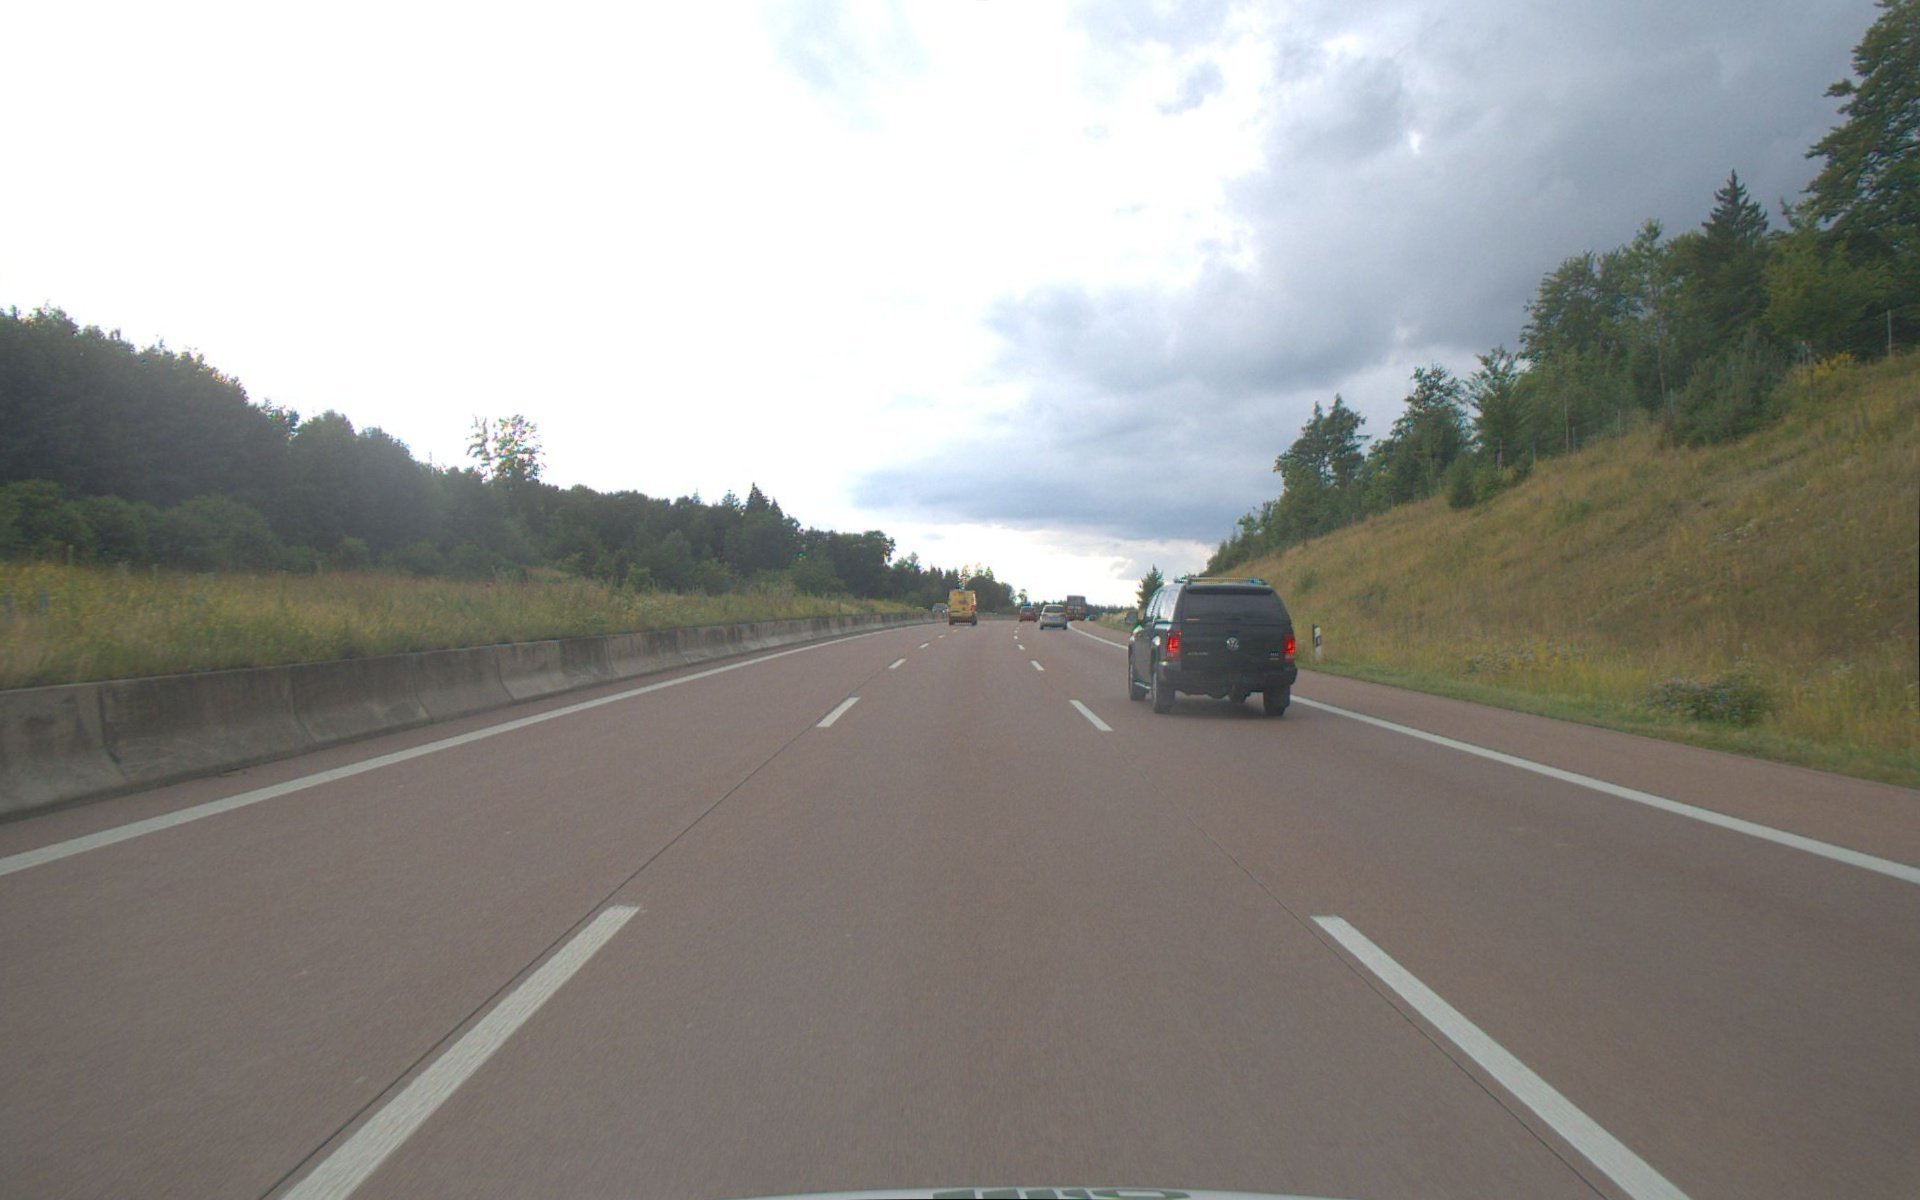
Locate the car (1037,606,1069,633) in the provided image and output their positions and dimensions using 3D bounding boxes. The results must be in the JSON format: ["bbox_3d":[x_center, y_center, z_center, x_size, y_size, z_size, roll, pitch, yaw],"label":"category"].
[{"bbox_3d":[6.054,1.277,107.154,1.936,1.677,4.621,1,0,4],"label":"car"}]

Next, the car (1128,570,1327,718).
[{"bbox_3d":[3.786,0.610,24.431,2.002,1.930,5.576,0,-1,0],"label":"car"}]

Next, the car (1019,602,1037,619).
[{"bbox_3d":[7.388,1.146,178.732,1.848,1.795,4.784,0,-1,4],"label":"car"}]

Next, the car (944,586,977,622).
[{"bbox_3d":[0.093,0.323,128.372,2.407,2.754,5.614,0,-1,2],"label":"car"}]
